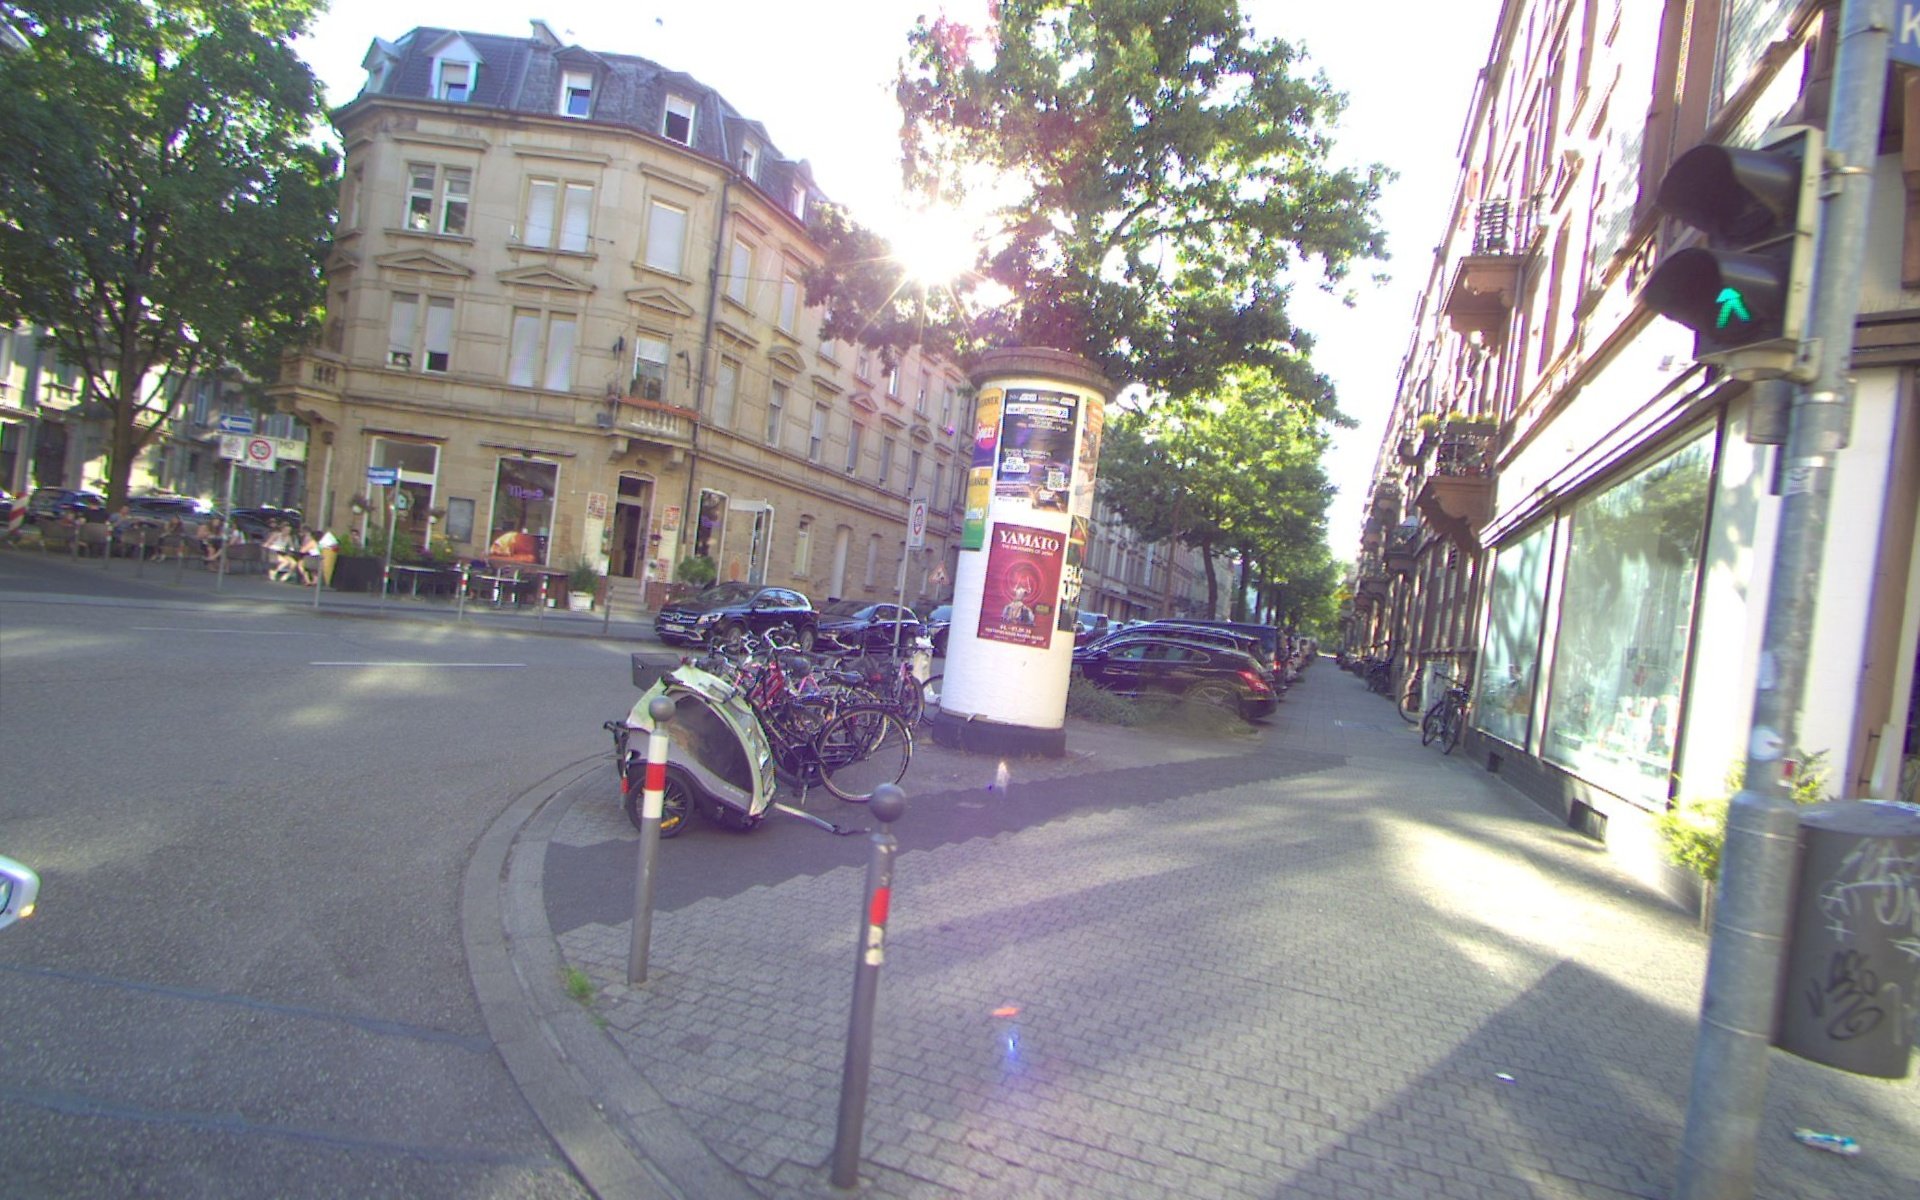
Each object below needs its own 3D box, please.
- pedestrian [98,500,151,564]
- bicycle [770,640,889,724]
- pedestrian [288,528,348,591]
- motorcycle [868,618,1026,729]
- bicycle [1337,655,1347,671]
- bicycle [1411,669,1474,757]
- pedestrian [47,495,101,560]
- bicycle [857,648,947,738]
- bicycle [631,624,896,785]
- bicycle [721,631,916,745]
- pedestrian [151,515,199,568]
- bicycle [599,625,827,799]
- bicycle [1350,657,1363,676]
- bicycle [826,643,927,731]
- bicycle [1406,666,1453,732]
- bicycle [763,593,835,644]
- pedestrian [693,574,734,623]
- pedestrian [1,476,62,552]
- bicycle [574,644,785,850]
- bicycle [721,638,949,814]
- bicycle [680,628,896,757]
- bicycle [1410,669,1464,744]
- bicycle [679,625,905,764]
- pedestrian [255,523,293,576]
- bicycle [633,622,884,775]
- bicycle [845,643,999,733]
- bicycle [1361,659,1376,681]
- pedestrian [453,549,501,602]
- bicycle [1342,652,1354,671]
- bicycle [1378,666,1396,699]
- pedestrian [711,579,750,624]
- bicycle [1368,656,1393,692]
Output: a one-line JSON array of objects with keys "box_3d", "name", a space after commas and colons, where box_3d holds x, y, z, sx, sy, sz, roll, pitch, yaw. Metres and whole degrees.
[{"box_3d": [-20.603, -1.682, 24.809, 0.657, 1.460, 0.765, 6, 1, 33], "name": "pedestrian"}, {"box_3d": [-1.562, 1.010, 12.193, 1.402, 0.939, 0.351, 6, -1, -40], "name": "bicycle"}, {"box_3d": [-14.690, -0.920, 23.024, 0.731, 1.305, 0.743, 7, 1, 11], "name": "pedestrian"}, {"box_3d": [-0.176, 0.946, 13.294, 1.869, 1.249, 0.686, 5, 0, 21], "name": "motorcycle"}, {"box_3d": [30.393, 5.033, 80.042, 0.660, 1.185, 2.592, 5, -1, 21], "name": "bicycle"}, {"box_3d": [7.560, 1.726, 15.850, 0.660, 1.185, 2.592, 5, -1, 23], "name": "bicycle"}, {"box_3d": [-21.208, -1.734, 24.086, 0.657, 1.430, 0.764, 6, 1, 34], "name": "pedestrian"}, {"box_3d": [-0.635, 1.045, 11.542, 0.348, 0.938, 1.525, 4, -2, 22], "name": "bicycle"}, {"box_3d": [-1.517, 0.824, 7.836, 1.907, 1.107, 0.423, 5, -1, -19], "name": "bicycle"}, {"box_3d": [-1.451, 0.907, 10.491, 1.900, 1.000, 0.497, 5, -1, -2], "name": "bicycle"}, {"box_3d": [-19.714, -1.460, 25.265, 0.657, 1.231, 0.676, 6, 1, 31], "name": "pedestrian"}, {"box_3d": [-1.724, 0.792, 7.150, 1.466, 1.107, 0.420, 6, -1, -40], "name": "bicycle"}, {"box_3d": [22.527, 3.766, 57.151, 0.545, 1.013, 1.893, 5, -1, 20], "name": "bicycle"}, {"box_3d": [-0.953, 1.010, 11.799, 0.348, 0.938, 1.523, 4, -2, 28], "name": "bicycle"}, {"box_3d": [9.589, 1.990, 20.613, 0.660, 1.185, 2.592, 5, -1, 23], "name": "bicycle"}, {"box_3d": [-4.494, 0.511, 28.071, 1.839, 1.142, 0.528, 9, 1, 23], "name": "bicycle"}, {"box_3d": [-7.001, -0.036, 28.638, 0.714, 1.274, 0.757, 7, 1, 18], "name": "pedestrian"}, {"box_3d": [-22.308, -2.061, 24.180, 0.655, 1.691, 0.767, 6, 1, 19], "name": "pedestrian"}, {"box_3d": [-1.675, 0.864, 6.156, 0.981, 1.039, 0.738, 7, 1, -1], "name": "bicycle"}, {"box_3d": [-0.864, 0.884, 7.176, 1.465, 1.107, 0.568, 6, -1, -38], "name": "bicycle"}, {"box_3d": [-1.637, 0.882, 9.582, 1.906, 1.065, 0.501, 5, -1, -17], "name": "bicycle"}, {"box_3d": [8.620, 1.879, 18.246, 0.660, 1.185, 2.592, 5, -1, 23], "name": "bicycle"}, {"box_3d": [-1.509, 0.859, 9.111, 1.906, 1.107, 0.424, 5, -1, -17], "name": "bicycle"}, {"box_3d": [-17.287, -1.265, 25.353, 0.473, 1.264, 0.510, 7, 2, 18], "name": "pedestrian"}, {"box_3d": [-1.643, 0.821, 8.259, 1.907, 1.107, 0.423, 5, -1, -19], "name": "bicycle"}, {"box_3d": [-0.498, 1.100, 12.780, 1.900, 0.939, 0.354, 4, -1, 20], "name": "bicycle"}, {"box_3d": [19.715, 3.370, 48.557, 0.545, 1.013, 1.893, 5, -1, 20], "name": "bicycle"}, {"box_3d": [-12.298, -0.615, 25.613, 0.714, 1.229, 0.757, 7, 1, 1], "name": "pedestrian"}, {"box_3d": [25.339, 4.026, 65.736, 0.660, 1.185, 2.592, 5, -1, 21], "name": "bicycle"}, {"box_3d": [13.947, 2.679, 32.897, 0.398, 0.974, 1.867, 4, -1, 20], "name": "bicycle"}, {"box_3d": [-6.792, 0.049, 29.789, 0.714, 1.229, 0.757, 7, 1, 18], "name": "pedestrian"}, {"box_3d": [15.063, 2.636, 36.065, 0.660, 1.185, 2.592, 5, -1, 21], "name": "bicycle"}]
